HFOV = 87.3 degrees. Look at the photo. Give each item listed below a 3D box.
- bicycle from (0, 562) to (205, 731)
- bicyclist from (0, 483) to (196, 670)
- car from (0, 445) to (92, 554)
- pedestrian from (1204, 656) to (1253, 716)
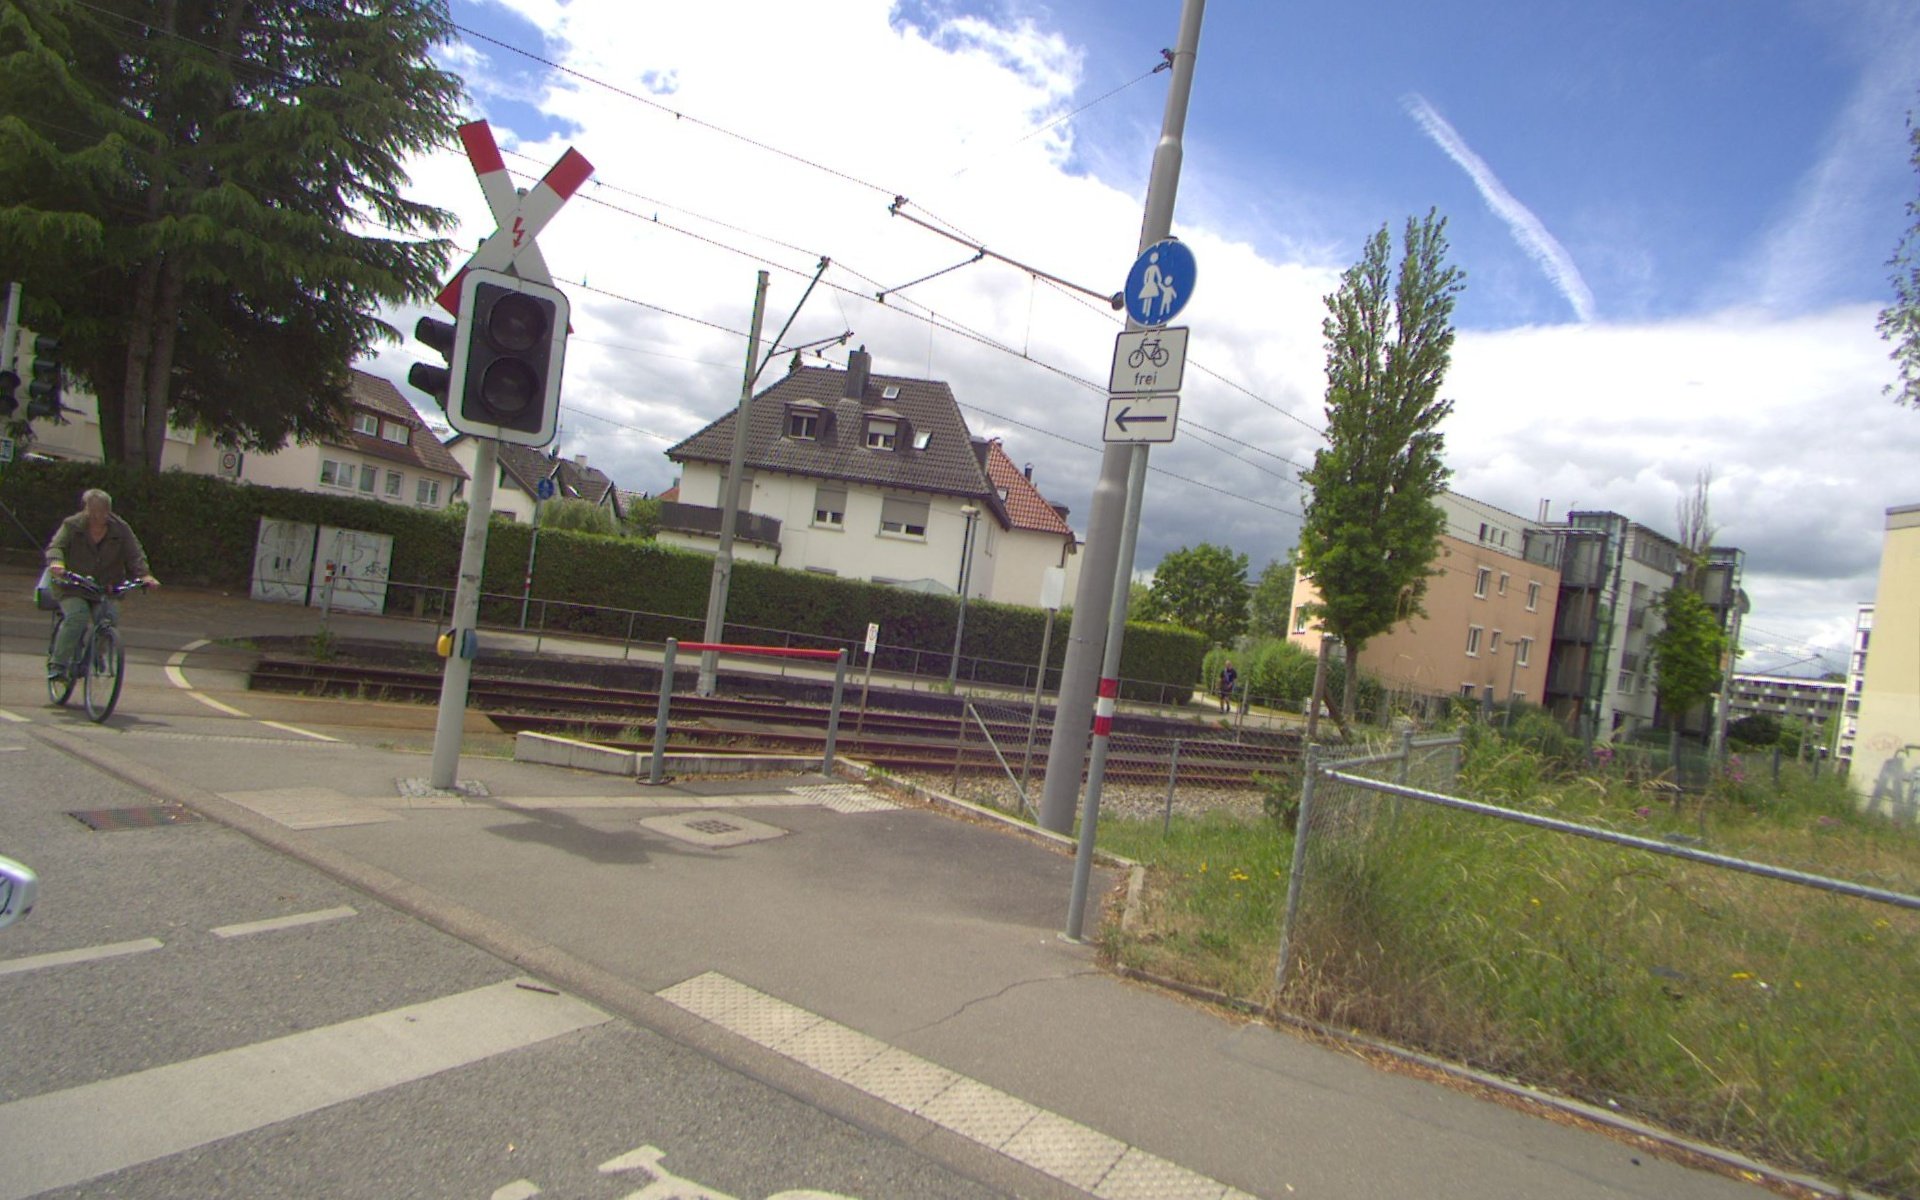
[{"bbox_3d":[-6.854,0.337,7.821,1.885,1.052,0.933,6,-2,35],"label":"bicycle"},{"bbox_3d":[-6.805,-0.177,7.847,1.085,1.262,0.933,7,-2,35],"label":"bicyclist"},{"bbox_3d":[-26.090,-2.885,25.399,1.962,2.612,6.020,8,-1,16],"label":"car"},{"bbox_3d":[8.414,2.694,31.582,0.910,1.707,0.925,7,0,-31],"label":"pedestrian"}]
